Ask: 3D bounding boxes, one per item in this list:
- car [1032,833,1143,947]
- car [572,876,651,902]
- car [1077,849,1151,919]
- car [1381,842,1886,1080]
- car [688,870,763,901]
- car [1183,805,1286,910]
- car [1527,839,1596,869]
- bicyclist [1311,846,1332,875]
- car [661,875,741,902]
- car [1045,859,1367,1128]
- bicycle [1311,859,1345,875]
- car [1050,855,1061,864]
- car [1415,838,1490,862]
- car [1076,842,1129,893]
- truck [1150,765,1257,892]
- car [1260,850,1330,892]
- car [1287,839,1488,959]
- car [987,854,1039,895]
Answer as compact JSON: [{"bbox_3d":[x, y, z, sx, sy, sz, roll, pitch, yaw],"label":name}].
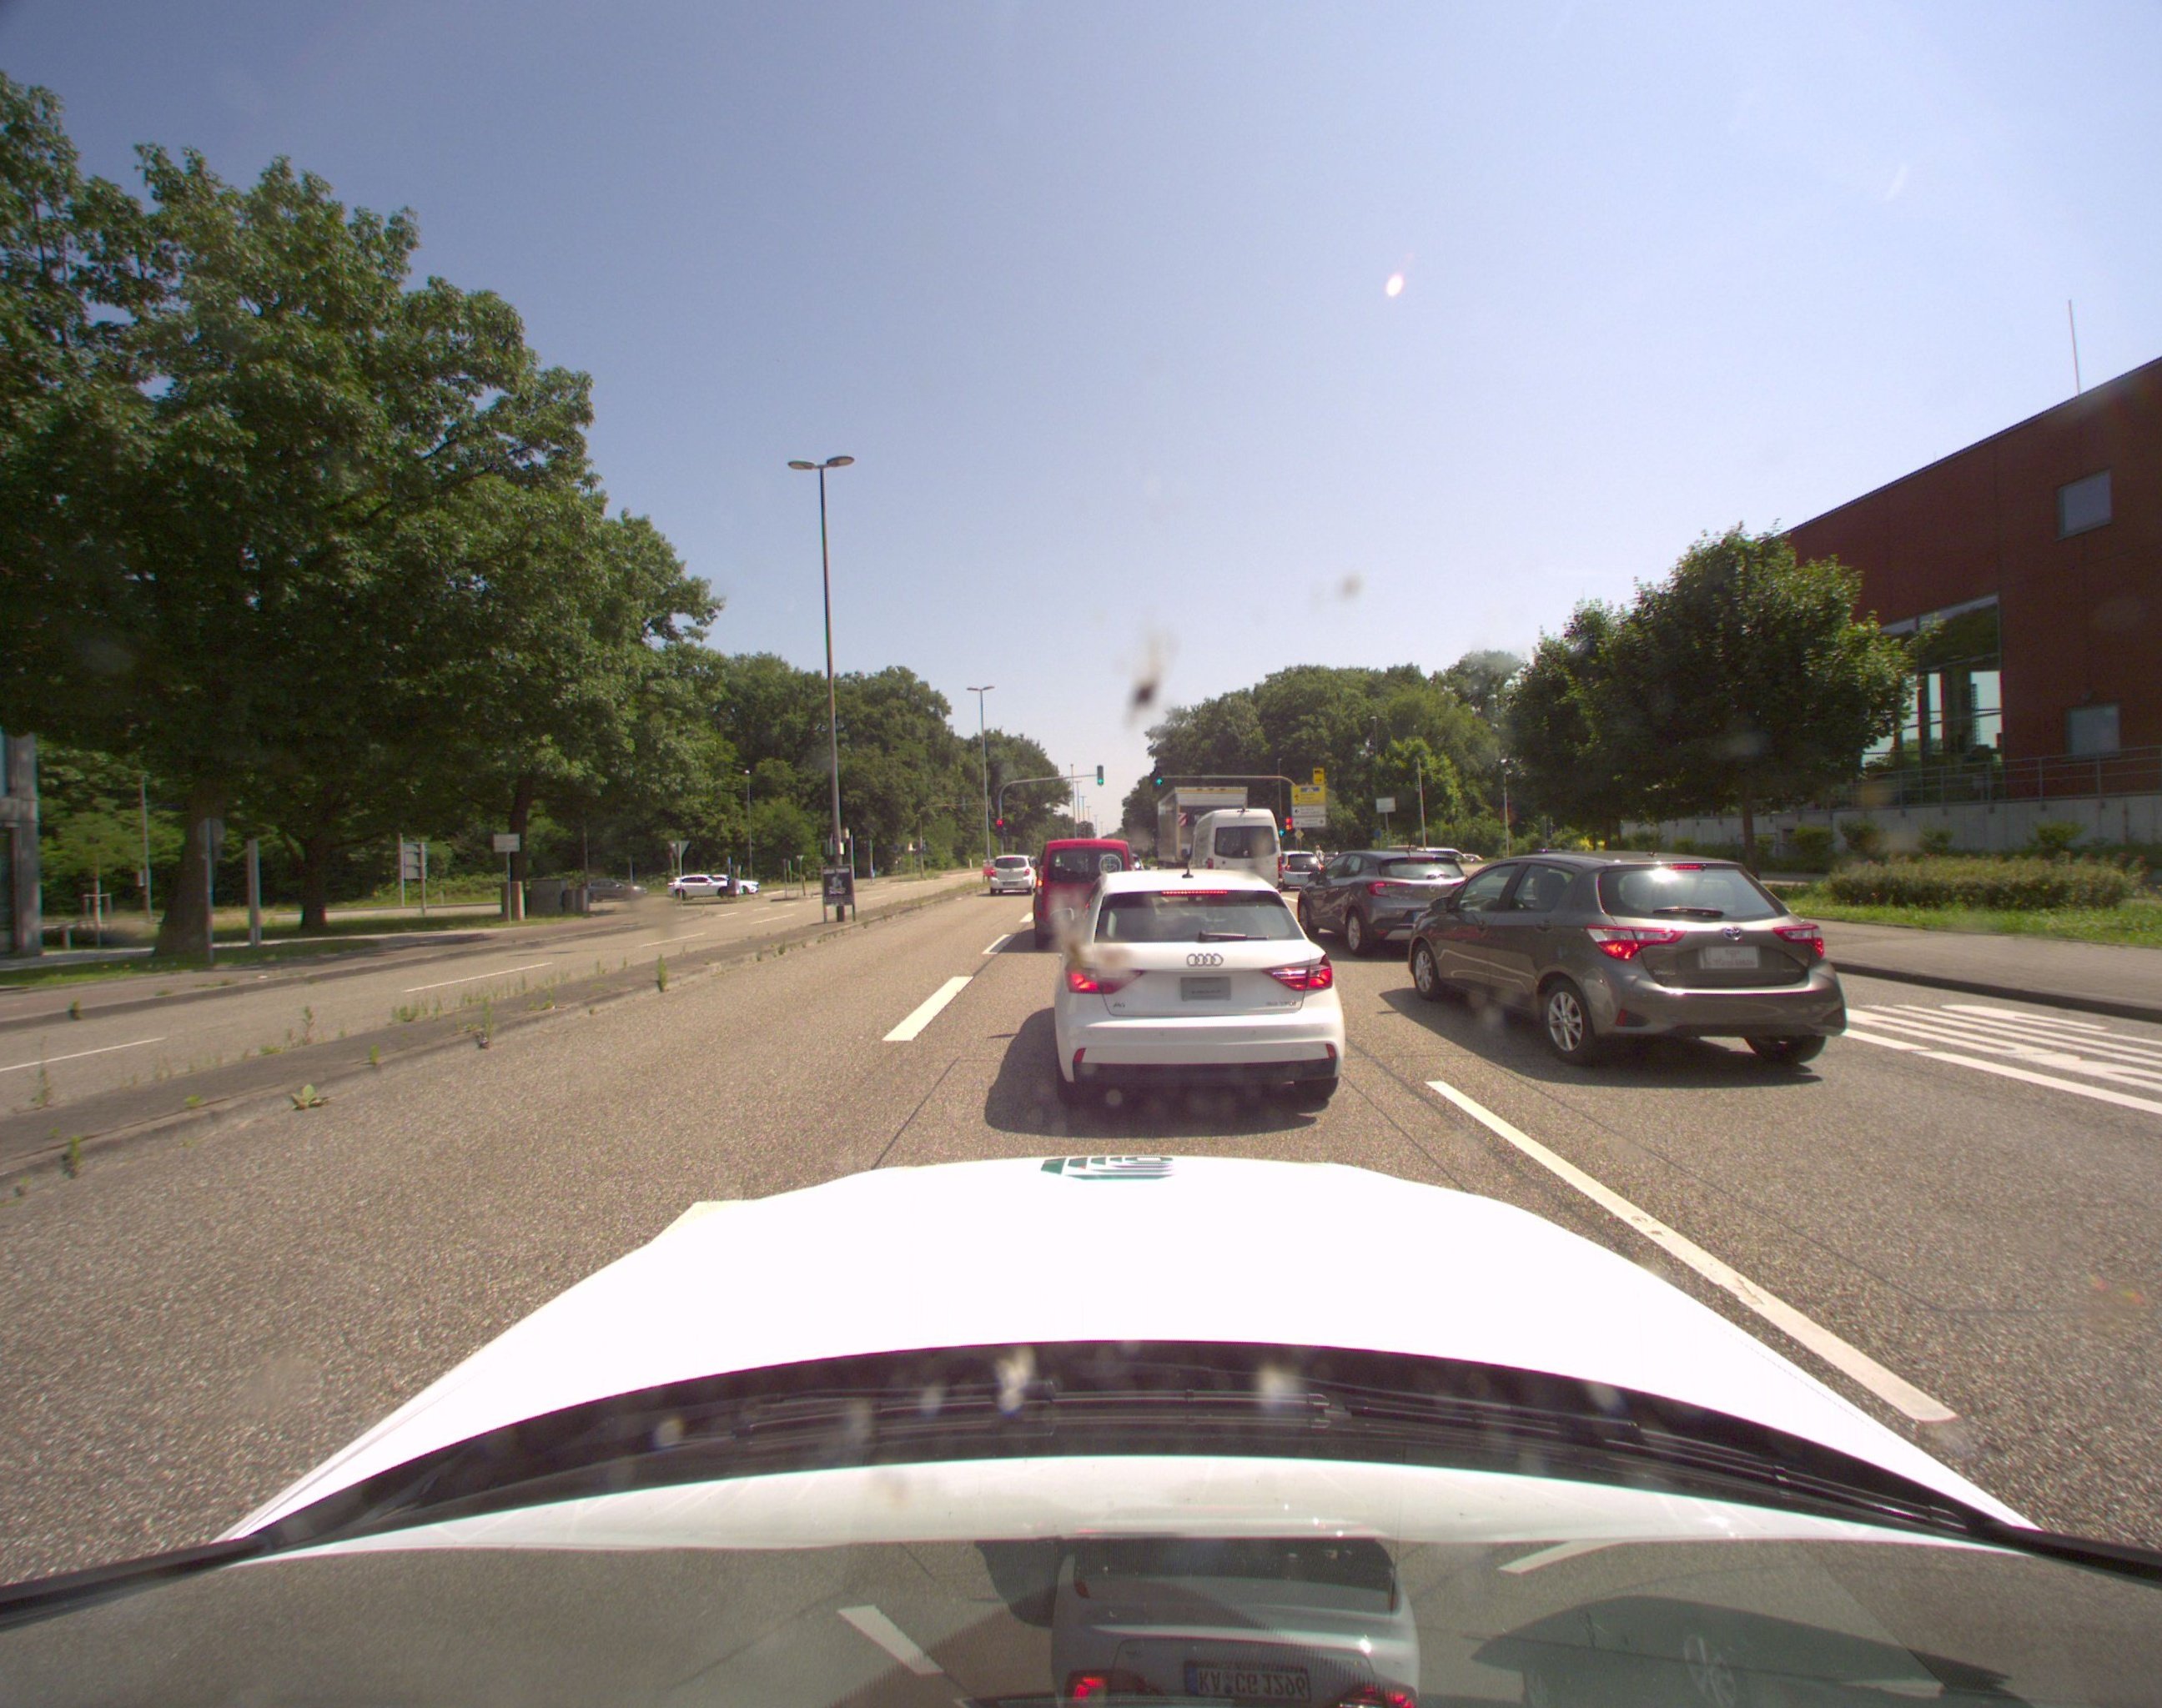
[{"bbox_3d":[0.105,0.560,14.719,1.706,1.748,4.091,-1,0,0],"label":"car"},{"bbox_3d":[-32.562,2.417,56.610,4.370,1.681,1.804,0,-1,-10],"label":"car"},{"bbox_3d":[0.786,0.705,21.271,1.706,1.631,4.091,-1,0,0],"label":"car"},{"bbox_3d":[4.285,0.682,7.240,1.706,1.478,4.091,1,0,0],"label":"car"},{"bbox_3d":[-24.938,2.172,57.248,4.367,1.681,1.806,-6,0,-7],"label":"car"},{"bbox_3d":[4.215,0.096,23.171,2.024,2.644,4.845,-1,0,1],"label":"car"},{"bbox_3d":[36.227,0.008,61.500,3.972,2.013,2.001,-2,0,2],"label":"car"},{"bbox_3d":[12.519,0.349,42.460,0.831,1.439,0.593,-2,0,-29],"label":"bicyclist"},{"bbox_3d":[-24.851,2.265,53.424,4.366,1.681,1.806,0,-1,-7],"label":"car"},{"bbox_3d":[0.678,0.759,6.424,1.706,1.386,4.091,-1,0,0],"label":"car"},{"bbox_3d":[12.919,0.685,42.632,1.832,0.766,0.595,-2,0,-29],"label":"bicycle"},{"bbox_3d":[-5.305,1.177,171.821,1.987,1.772,4.205,-2,0,1],"label":"car"},{"bbox_3d":[26.283,-0.282,57.710,4.455,1.530,1.798,-2,0,1],"label":"car"},{"bbox_3d":[0.719,0.452,28.973,1.706,1.631,4.091,-1,0,0],"label":"car"},{"bbox_3d":[4.788,-0.907,34.429,3.077,4.434,11.584,-1,0,2],"label":"truck"},{"bbox_3d":[8.363,0.625,32.171,1.706,1.546,4.091,-1,0,0],"label":"car"},{"bbox_3d":[4.719,0.615,13.196,1.706,1.593,4.091,-1,0,0],"label":"car"},{"bbox_3d":[-2.631,0.772,32.289,1.706,1.493,4.091,-1,0,0],"label":"car"}]
